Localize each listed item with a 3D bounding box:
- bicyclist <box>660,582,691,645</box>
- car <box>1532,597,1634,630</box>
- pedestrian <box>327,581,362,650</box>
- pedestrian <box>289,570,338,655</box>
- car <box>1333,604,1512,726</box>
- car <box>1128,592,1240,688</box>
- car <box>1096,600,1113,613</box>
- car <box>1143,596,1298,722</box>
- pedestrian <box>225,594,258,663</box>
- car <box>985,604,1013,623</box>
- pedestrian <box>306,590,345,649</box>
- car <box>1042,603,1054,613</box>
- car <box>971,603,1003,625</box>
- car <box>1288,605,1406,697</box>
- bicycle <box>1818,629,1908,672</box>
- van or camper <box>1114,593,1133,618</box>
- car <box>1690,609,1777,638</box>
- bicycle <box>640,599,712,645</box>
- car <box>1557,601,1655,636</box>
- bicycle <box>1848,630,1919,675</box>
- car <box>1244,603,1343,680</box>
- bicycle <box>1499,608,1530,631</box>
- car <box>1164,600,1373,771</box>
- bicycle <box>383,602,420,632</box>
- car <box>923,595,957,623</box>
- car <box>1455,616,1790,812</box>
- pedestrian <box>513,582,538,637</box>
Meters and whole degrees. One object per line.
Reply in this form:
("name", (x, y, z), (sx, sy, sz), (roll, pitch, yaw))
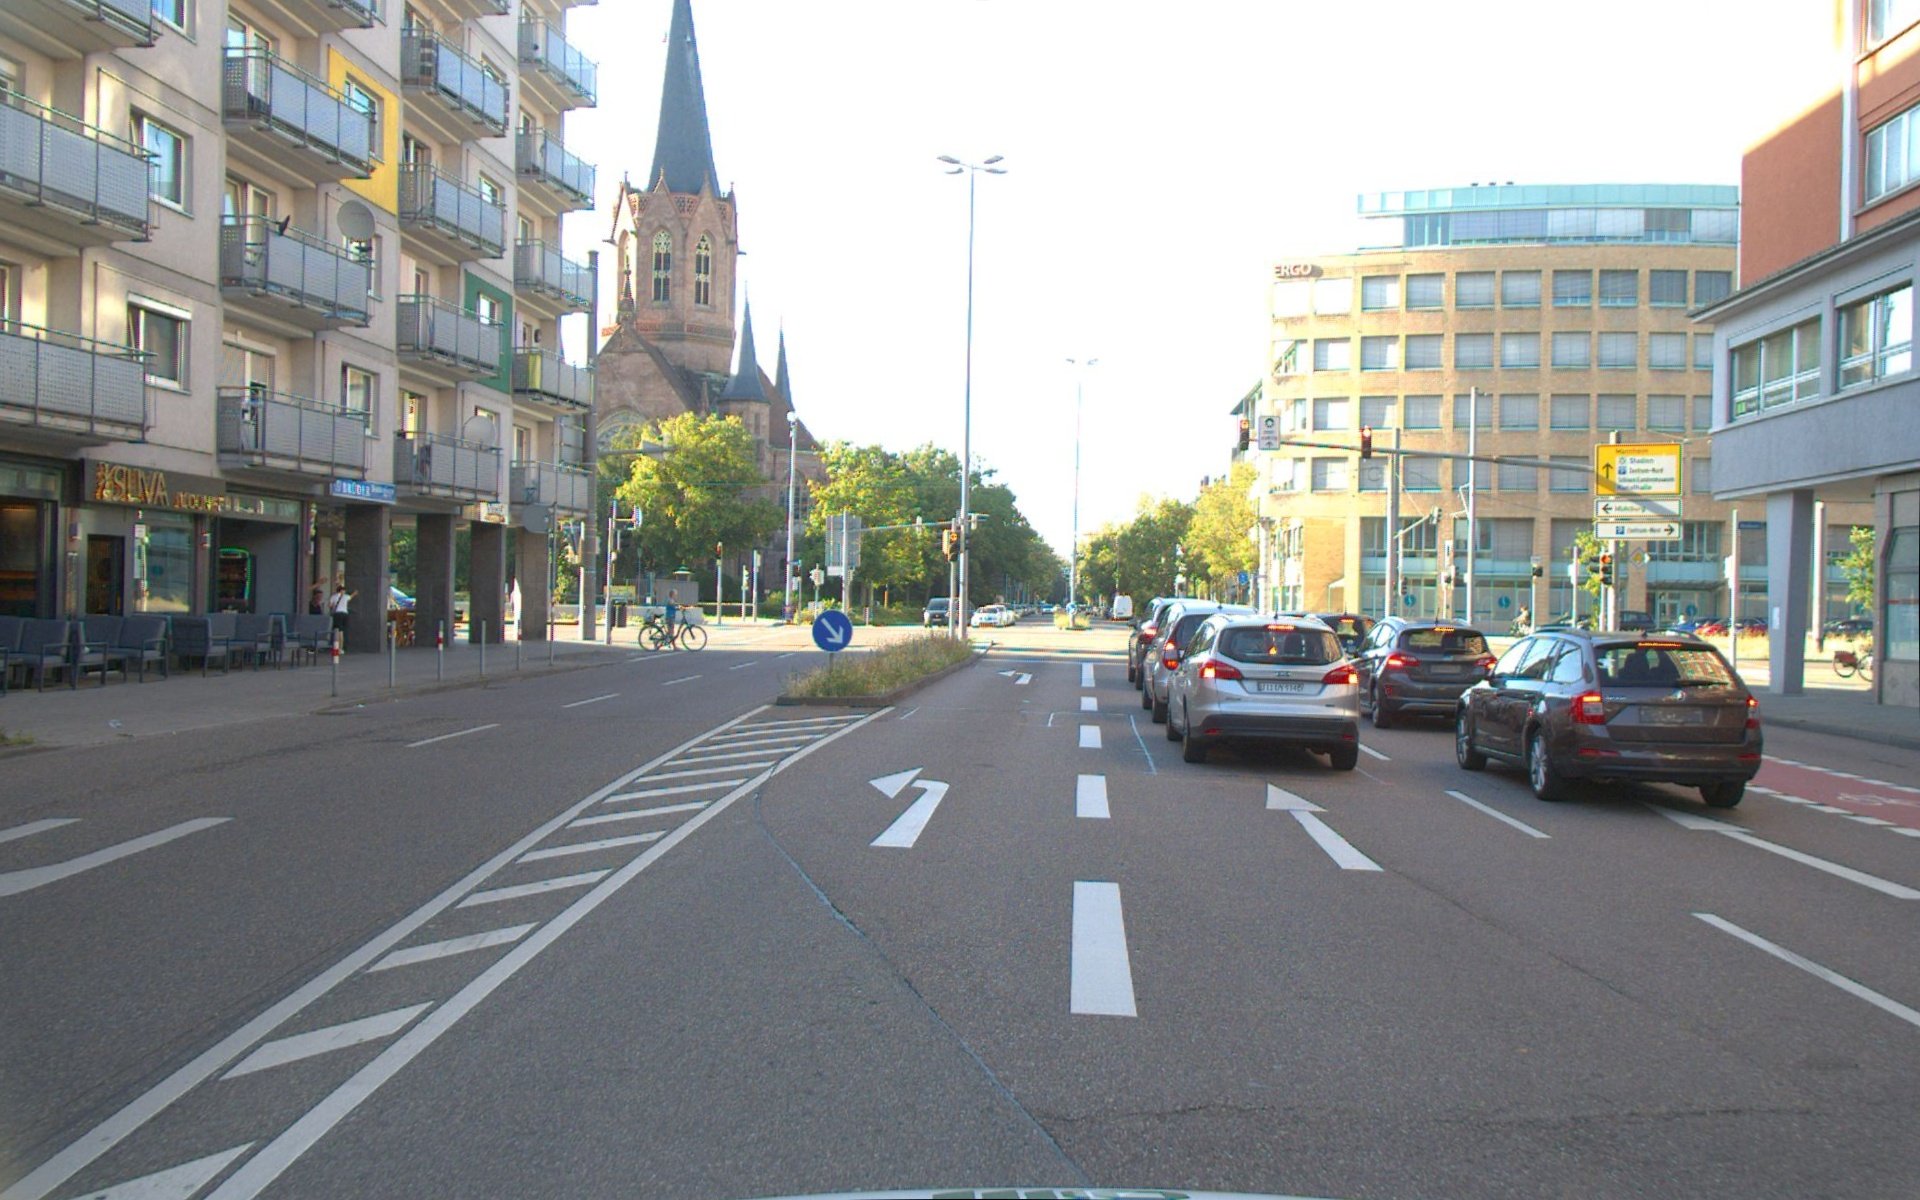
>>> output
("bicyclist", (-7.678, 0.360, 44.640), (0.768, 1.689, 0.899), (1, 0, -8))
("car", (32.417, 0.711, 86.155), (4.550, 1.626, 2.000), (1, 0, 1))
("pedestrian", (-12.859, 0.318, 34.548), (0.474, 1.408, 0.481), (1, 0, 24))
("pedestrian", (-13.228, 0.253, 33.864), (0.773, 1.730, 0.552), (1, 0, -43))
("car", (6.553, 0.858, 23.840), (1.616, 1.510, 4.241), (2, 0, 4))
("car", (4.173, 0.690, 31.380), (1.746, 1.661, 4.480), (1, 0, 3))
("car", (18.541, 0.827, 212.124), (1.952, 1.620, 4.000), (1, 0, 1))
("car", (3.586, 0.761, 23.311), (1.766, 1.596, 3.620), (1, 0, 3))
("pedestrian", (-13.106, 0.517, 30.166), (0.515, 1.224, 0.548), (1, 0, -28))
("car", (2.731, 0.923, 116.182), (1.742, 1.257, 4.002), (1, 0, 4))
("pedestrian", (-13.818, 0.428, 36.025), (0.544, 1.261, 0.531), (1, 0, 18))
("car", (12.891, 1.158, 242.056), (1.742, 1.474, 4.002), (1, 0, 4))
("car", (1.695, 0.845, 102.376), (1.742, 1.257, 4.002), (1, 0, 4))
("car", (6.971, 0.877, 30.047), (1.458, 1.532, 3.480), (1, 0, 3))
("bicycle", (24.472, 1.365, 44.840), (2.042, 1.136, 0.743), (0, 0, 3))
("van or camper", (17.899, 0.622, 180.975), (1.951, 2.686, 5.354), (1, 0, 5))
("car", (38.518, 1.155, 82.377), (3.532, 1.366, 1.723), (1, 0, 4))
("bicycle", (-7.641, 0.585, 44.523), (1.789, 1.209, 0.734), (1, 0, 3))
("car", (32.349, 0.935, 82.921), (4.139, 1.642, 2.001), (1, 0, 6))
("bicycle", (24.457, 1.370, 43.286), (2.042, 1.136, 0.743), (0, 0, 3))
("car", (7.084, 0.843, 35.370), (1.551, 1.472, 3.649), (2, 0, 4))
("bicycle", (29.664, 1.048, 88.476), (1.487, 1.193, 0.475), (1, 0, 11))
("car", (3.183, 0.810, 17.798), (1.672, 1.536, 4.311), (2, 0, 4))
("bicycle", (-17.399, 0.527, 51.521), (0.486, 0.922, 1.704), (1, 0, 3))
("car", (-1.223, 0.534, 103.130), (1.742, 1.676, 4.002), (1, 0, 4))
("car", (5.939, 0.930, 15.363), (1.671, 1.482, 4.160), (1, 0, 4))
("pedestrian", (-13.307, 0.298, 50.699), (0.458, 1.670, 0.576), (1, 0, 24))
